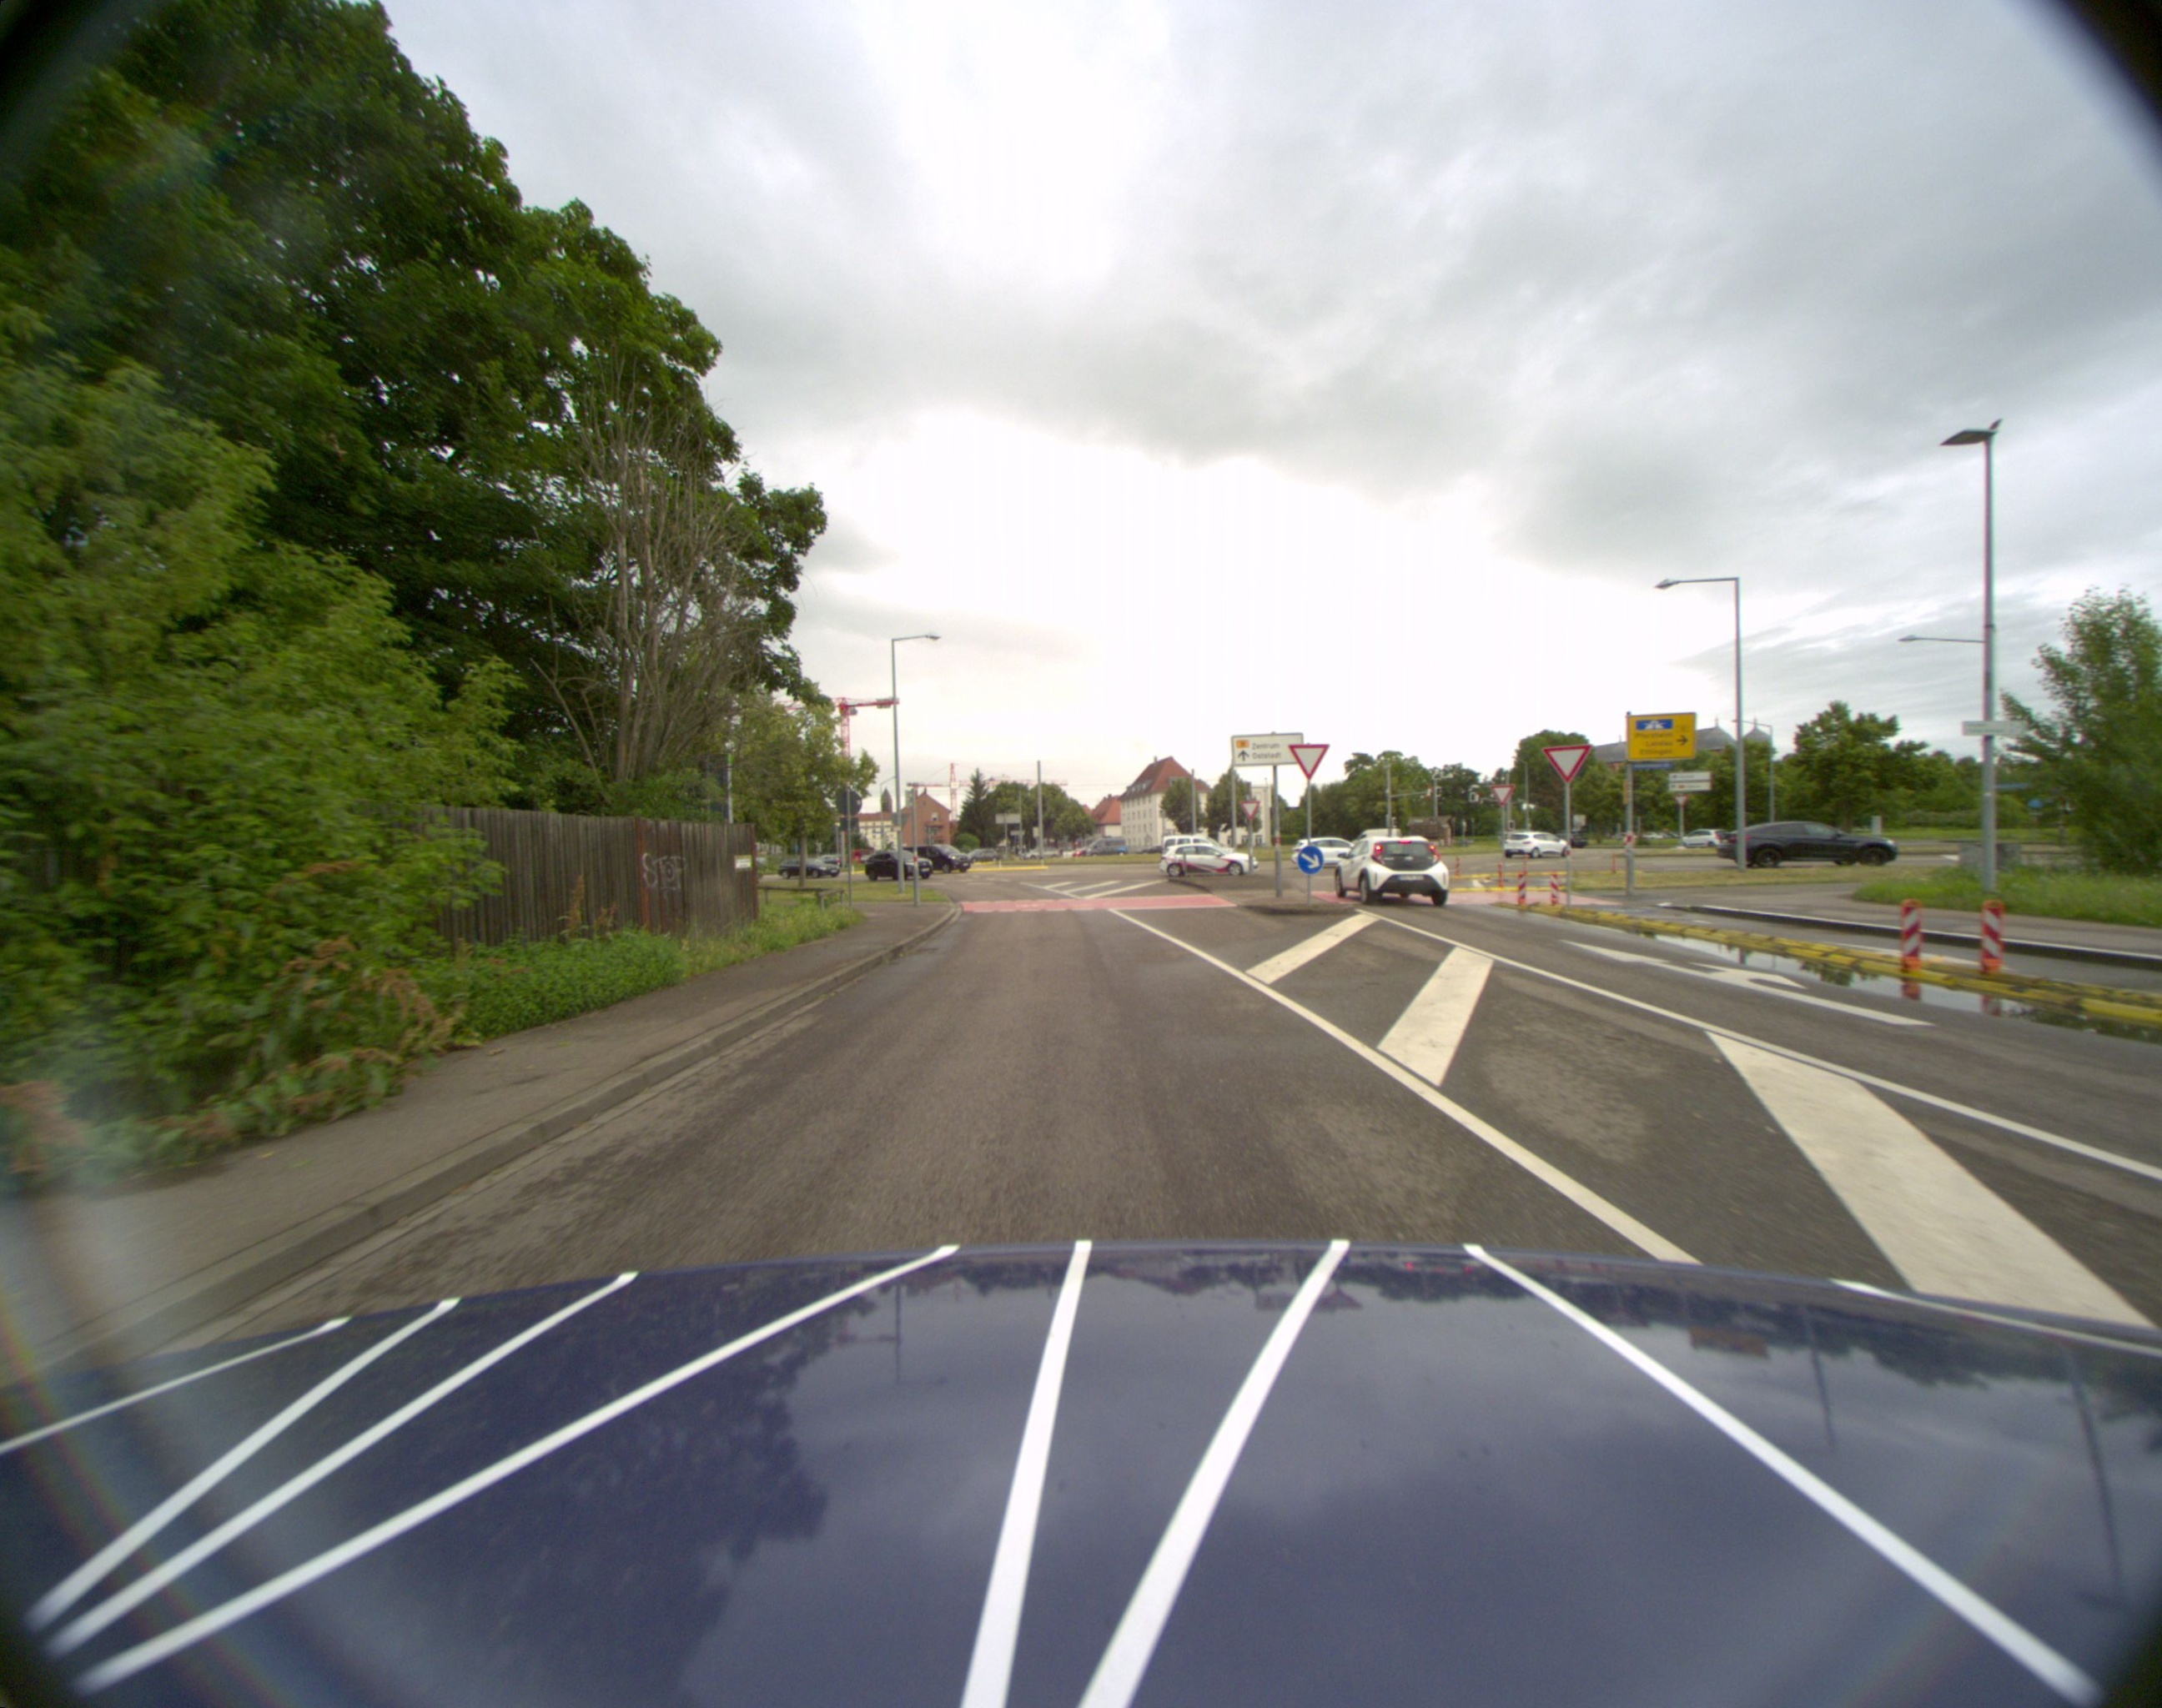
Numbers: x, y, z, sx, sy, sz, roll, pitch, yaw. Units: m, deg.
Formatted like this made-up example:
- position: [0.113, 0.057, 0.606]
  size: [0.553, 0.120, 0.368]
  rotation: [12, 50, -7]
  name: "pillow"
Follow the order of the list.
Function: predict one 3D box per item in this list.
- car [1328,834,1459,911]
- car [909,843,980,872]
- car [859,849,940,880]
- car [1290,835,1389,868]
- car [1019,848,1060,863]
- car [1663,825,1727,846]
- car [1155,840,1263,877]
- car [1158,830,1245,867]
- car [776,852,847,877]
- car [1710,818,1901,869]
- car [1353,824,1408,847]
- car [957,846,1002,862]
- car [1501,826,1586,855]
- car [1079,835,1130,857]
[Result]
- position: [7.163, 0.342, 17.840]
  size: [1.754, 1.578, 3.902]
  rotation: [1, 1, 5]
  name: "car"
- position: [-8.748, 0.247, 48.601]
  size: [4.004, 1.705, 1.932]
  rotation: [-2, 1, 24]
  name: "car"
- position: [-10.183, 0.600, 42.470]
  size: [4.463, 1.557, 1.925]
  rotation: [-1, 2, 37]
  name: "car"
- position: [12.554, -0.140, 37.187]
  size: [4.467, 1.449, 1.923]
  rotation: [-2, 1, 15]
  name: "car"
- position: [-4.460, 0.141, 82.435]
  size: [4.005, 1.479, 1.809]
  rotation: [-3, 1, -28]
  name: "car"
- position: [48.414, -1.426, 59.967]
  size: [1.897, 1.547, 4.000]
  rotation: [-2, 1, 2]
  name: "car"
- position: [5.703, 0.195, 33.804]
  size: [4.423, 1.449, 1.834]
  rotation: [-2, 1, 20]
  name: "car"
- position: [6.754, -0.323, 42.645]
  size: [4.476, 1.893, 1.924]
  rotation: [-2, 1, 19]
  name: "car"
- position: [-18.997, 0.728, 53.556]
  size: [4.351, 1.608, 2.002]
  rotation: [-1, 0, 17]
  name: "car"
- position: [26.679, -0.378, 28.190]
  size: [4.742, 1.658, 1.924]
  rotation: [-2, 1, 18]
  name: "car"
- position: [35.568, -2.137, 90.267]
  size: [5.593, 2.527, 2.245]
  rotation: [-1, 2, 42]
  name: "car"
- position: [-10.336, 0.038, 77.658]
  size: [1.994, 1.462, 4.351]
  rotation: [-1, 1, 39]
  name: "car"
- position: [26.115, -0.746, 42.886]
  size: [4.481, 1.446, 1.917]
  rotation: [-3, 1, -25]
  name: "car"
- position: [2.639, -0.920, 87.107]
  size: [5.347, 2.230, 2.171]
  rotation: [-2, 1, -19]
  name: "car"
